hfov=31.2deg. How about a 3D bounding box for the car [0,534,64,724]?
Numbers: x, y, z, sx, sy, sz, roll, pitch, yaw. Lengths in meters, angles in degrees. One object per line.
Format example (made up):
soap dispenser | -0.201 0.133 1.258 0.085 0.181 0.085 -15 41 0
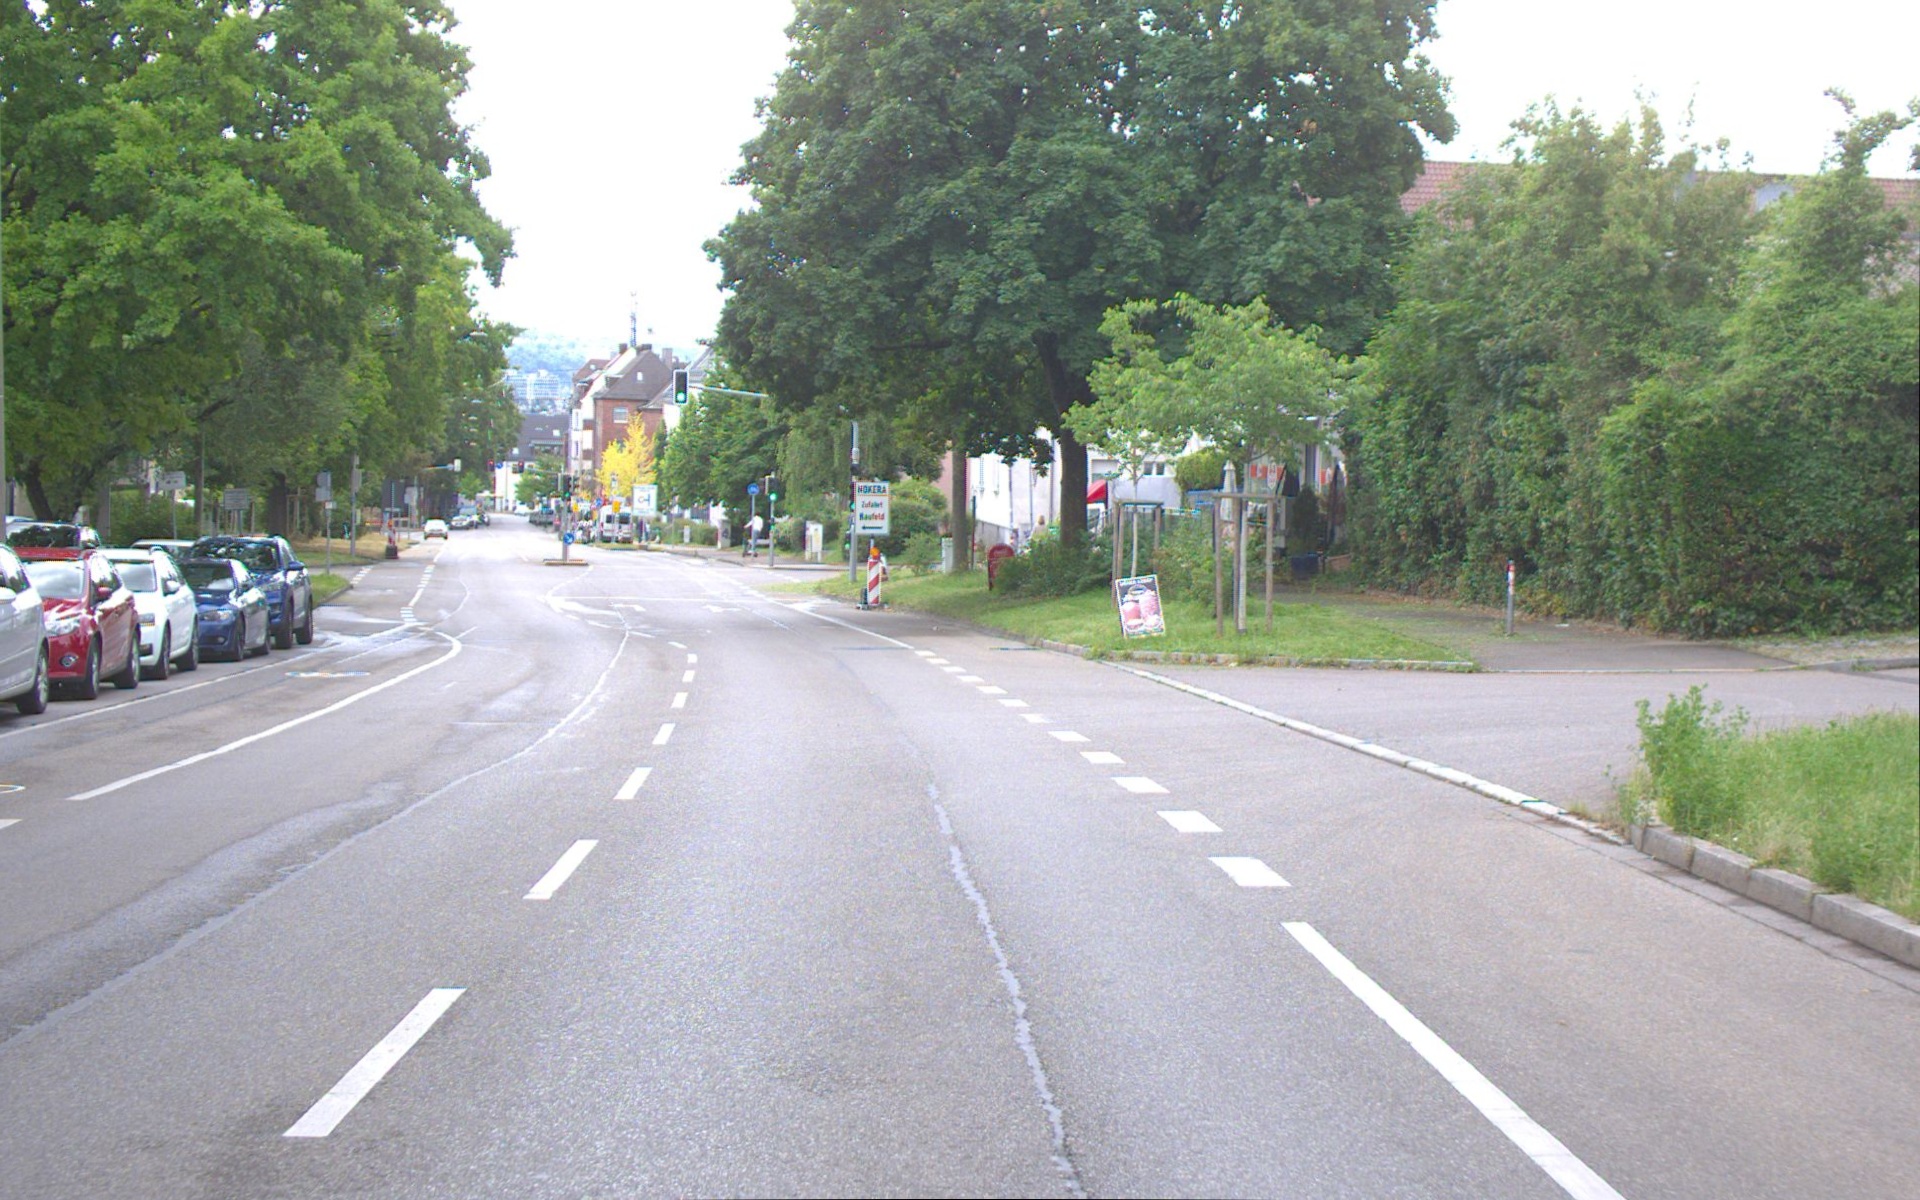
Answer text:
car | -8.951 0.213 29.318 1.868 1.567 4.121 1 0 -5

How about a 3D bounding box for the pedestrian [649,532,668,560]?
pedestrian | -20.014 -3.562 228.010 1.200 1.804 1.301 1 1 -7

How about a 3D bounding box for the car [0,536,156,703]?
car | -9.347 0.156 34.863 1.715 1.567 4.372 1 0 -5

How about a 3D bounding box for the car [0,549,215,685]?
car | -9.835 0.163 39.959 1.715 1.454 4.758 1 0 -5

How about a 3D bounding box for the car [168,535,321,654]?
car | -10.684 -0.123 51.573 1.715 1.607 4.536 1 2 -5

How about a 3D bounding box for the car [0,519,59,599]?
car | -20.289 -0.903 72.776 1.761 1.627 4.289 1 1 -7

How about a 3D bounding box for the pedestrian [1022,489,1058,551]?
pedestrian | 2.434 -2.445 104.979 0.747 1.849 0.955 -2 2 -22

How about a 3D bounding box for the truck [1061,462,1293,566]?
truck | 7.208 -2.848 114.425 7.225 3.295 2.541 1 1 -11

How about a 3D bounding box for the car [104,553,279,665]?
car | -10.154 0.087 45.670 1.715 1.384 4.339 1 1 -5

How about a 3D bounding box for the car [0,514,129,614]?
car | -16.131 -0.655 61.436 1.761 1.628 4.001 4 1 -4

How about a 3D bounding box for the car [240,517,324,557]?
car | -29.207 -2.716 148.146 3.448 1.590 2.001 1 1 -9
